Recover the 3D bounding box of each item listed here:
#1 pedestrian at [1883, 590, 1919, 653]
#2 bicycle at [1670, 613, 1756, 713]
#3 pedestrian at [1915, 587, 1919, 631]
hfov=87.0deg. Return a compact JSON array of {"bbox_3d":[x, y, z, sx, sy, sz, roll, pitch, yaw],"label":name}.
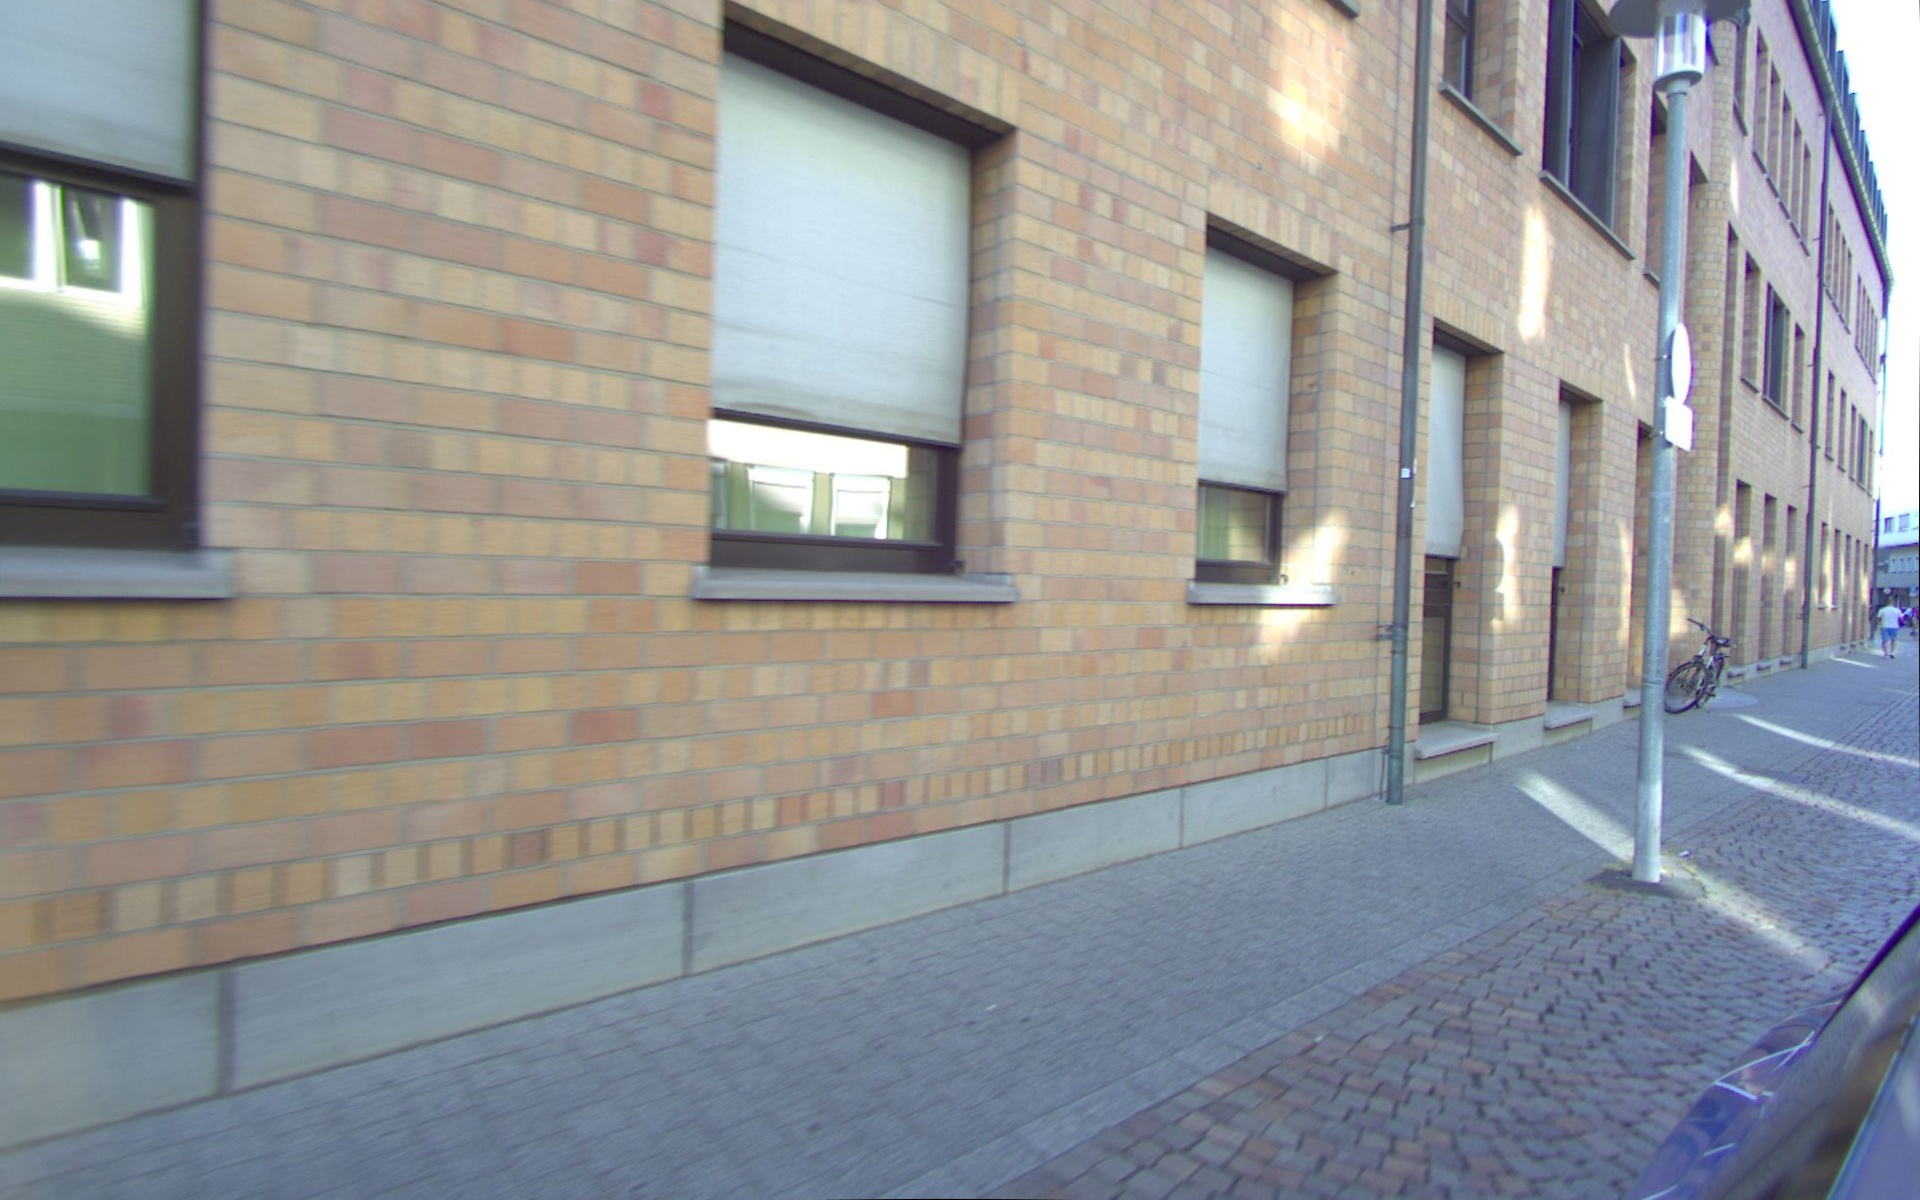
[{"bbox_3d":[27.227,0.593,29.174,0.808,1.737,0.761,1,3,-44],"label":"pedestrian"},{"bbox_3d":[9.563,0.757,12.826,0.550,1.116,1.951,7,4,44],"label":"bicycle"},{"bbox_3d":[45.062,0.417,47.086,0.711,2.038,0.690,2,1,35],"label":"pedestrian"}]
